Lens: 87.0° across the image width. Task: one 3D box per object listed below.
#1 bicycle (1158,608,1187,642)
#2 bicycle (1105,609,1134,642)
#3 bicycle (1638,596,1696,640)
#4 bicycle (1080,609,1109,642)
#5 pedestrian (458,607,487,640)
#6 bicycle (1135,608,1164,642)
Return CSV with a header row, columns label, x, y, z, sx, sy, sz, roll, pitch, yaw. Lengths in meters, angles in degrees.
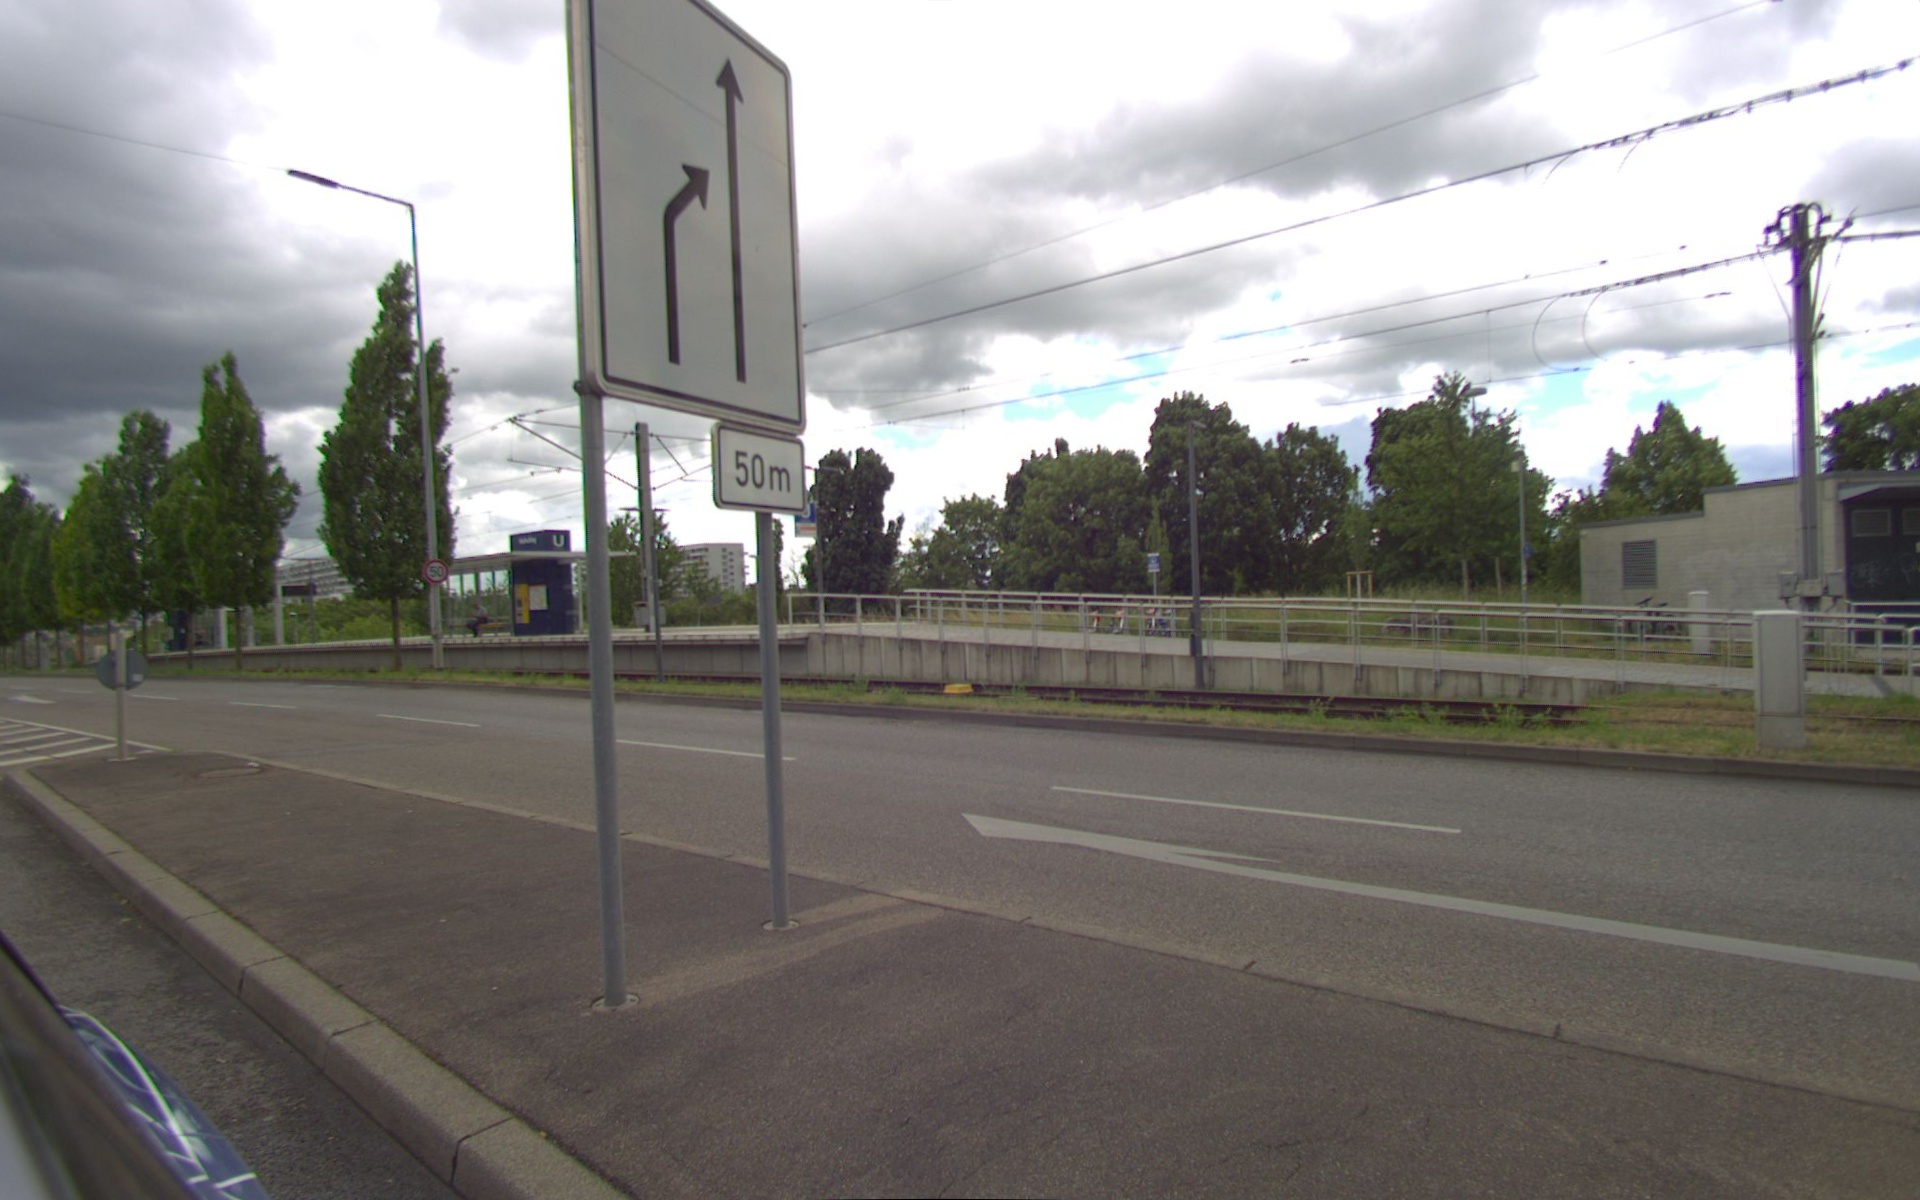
label,x,y,z,sx,sy,sz,roll,pitch,yaw
bicycle,7.040,0.816,33.465,0.490,1.095,1.466,-2,-1,30
bicycle,5.435,0.868,34.456,0.490,1.095,1.466,-2,-1,30
bicycle,18.189,0.458,26.057,0.486,1.095,1.480,-1,-1,3
bicycle,4.677,0.890,35.158,0.490,1.095,1.466,-2,-1,30
pedestrian,-18.256,0.880,37.870,0.781,1.211,0.656,-2,-1,33
bicycle,6.375,0.825,33.945,0.490,1.095,1.466,-2,-1,30
